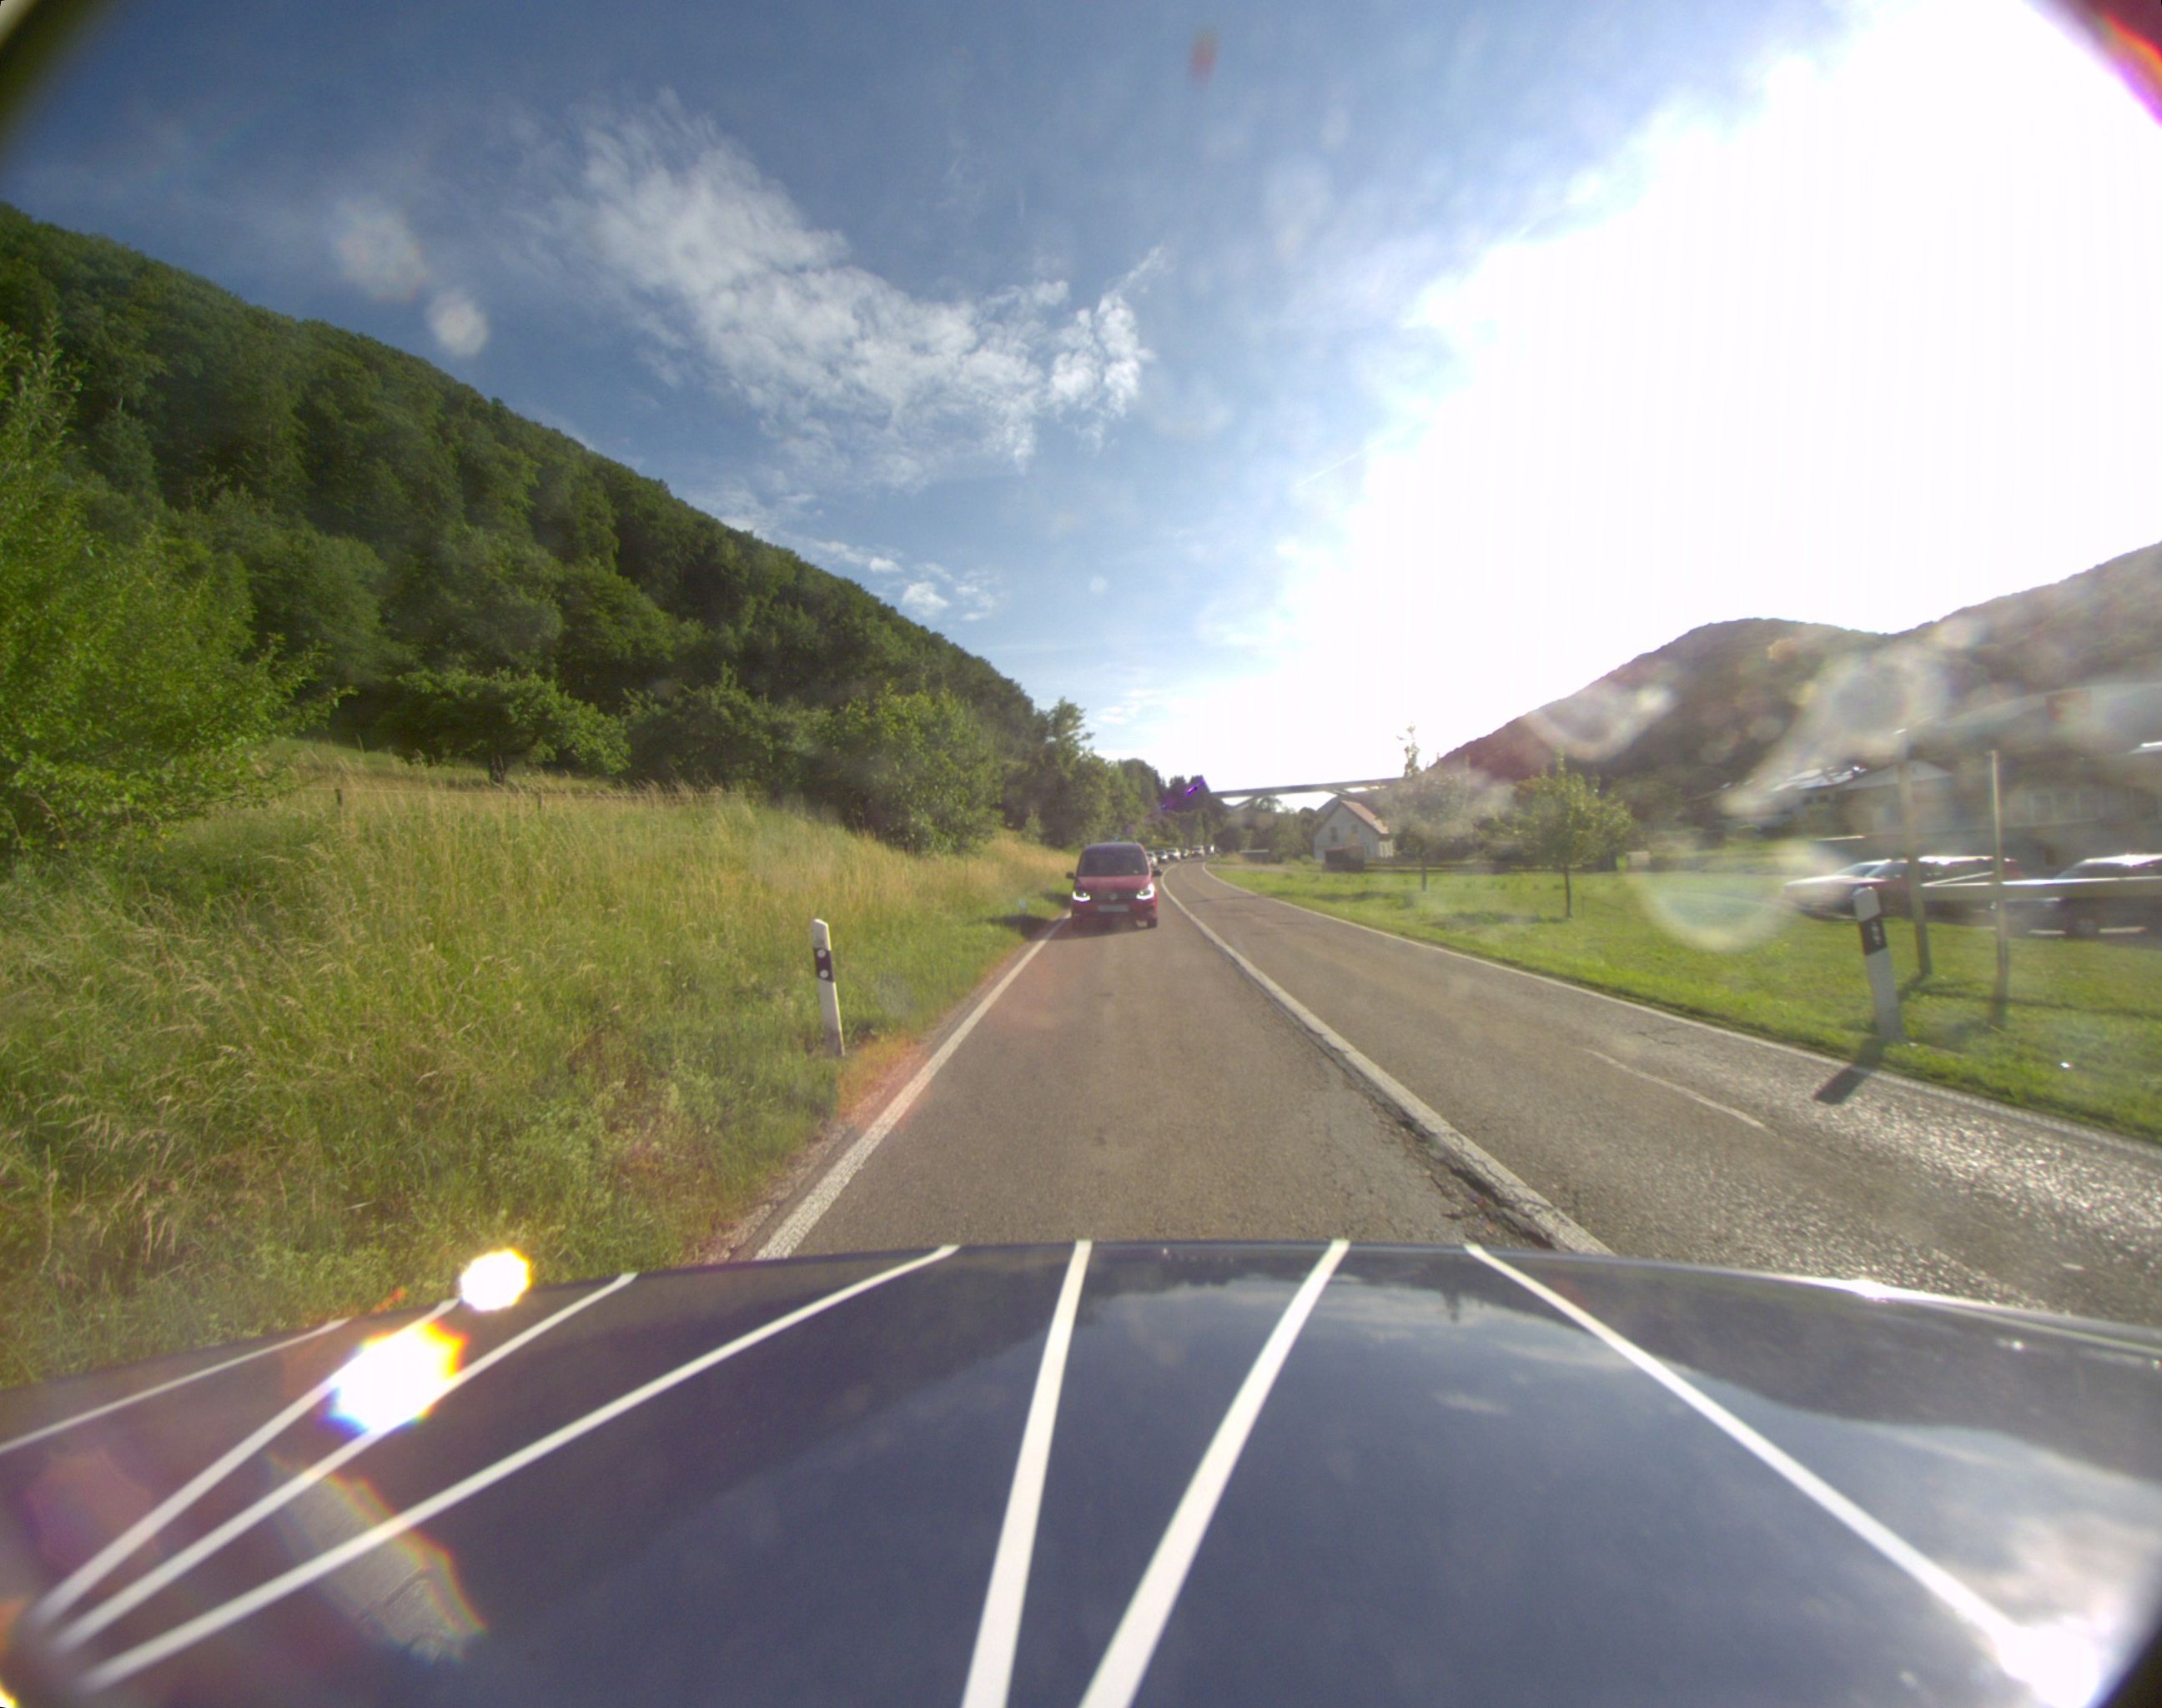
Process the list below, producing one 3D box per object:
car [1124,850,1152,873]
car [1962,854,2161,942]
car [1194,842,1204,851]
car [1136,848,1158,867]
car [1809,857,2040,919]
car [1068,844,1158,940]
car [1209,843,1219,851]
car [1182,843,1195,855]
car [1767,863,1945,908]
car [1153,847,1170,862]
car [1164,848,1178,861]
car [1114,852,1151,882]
[{"bbox_3d":[4.015,0.520,53.340,1.629,1.470,3.681,-2,1,8],"label":"car"},{"bbox_3d":[24.031,0.973,17.449,5.000,1.783,1.686,-2,1,11],"label":"car"},{"bbox_3d":[19.303,-1.232,124.385,1.629,1.470,3.681,-2,1,8],"label":"car"},{"bbox_3d":[5.786,0.265,65.965,1.629,1.470,3.681,-2,1,8],"label":"car"},{"bbox_3d":[25.235,1.015,22.937,4.327,1.659,1.850,-2,1,17],"label":"car"},{"bbox_3d":[0.767,0.696,16.342,1.648,1.762,4.001,-2,1,5],"label":"car"},{"bbox_3d":[24.022,-1.256,137.205,1.628,1.470,3.682,-2,1,12],"label":"car"},{"bbox_3d":[15.283,-0.714,107.923,1.628,1.470,3.682,-2,1,12],"label":"car"},{"bbox_3d":[26.405,1.076,26.037,3.892,1.360,1.854,-1,1,14],"label":"car"},{"bbox_3d":[8.601,-0.015,81.140,1.629,1.470,3.680,-2,1,5],"label":"car"},{"bbox_3d":[11.026,-0.006,93.211,1.629,1.470,3.680,-2,1,5],"label":"car"},{"bbox_3d":[2.853,0.665,41.378,1.629,1.470,3.681,-2,1,8],"label":"car"}]
